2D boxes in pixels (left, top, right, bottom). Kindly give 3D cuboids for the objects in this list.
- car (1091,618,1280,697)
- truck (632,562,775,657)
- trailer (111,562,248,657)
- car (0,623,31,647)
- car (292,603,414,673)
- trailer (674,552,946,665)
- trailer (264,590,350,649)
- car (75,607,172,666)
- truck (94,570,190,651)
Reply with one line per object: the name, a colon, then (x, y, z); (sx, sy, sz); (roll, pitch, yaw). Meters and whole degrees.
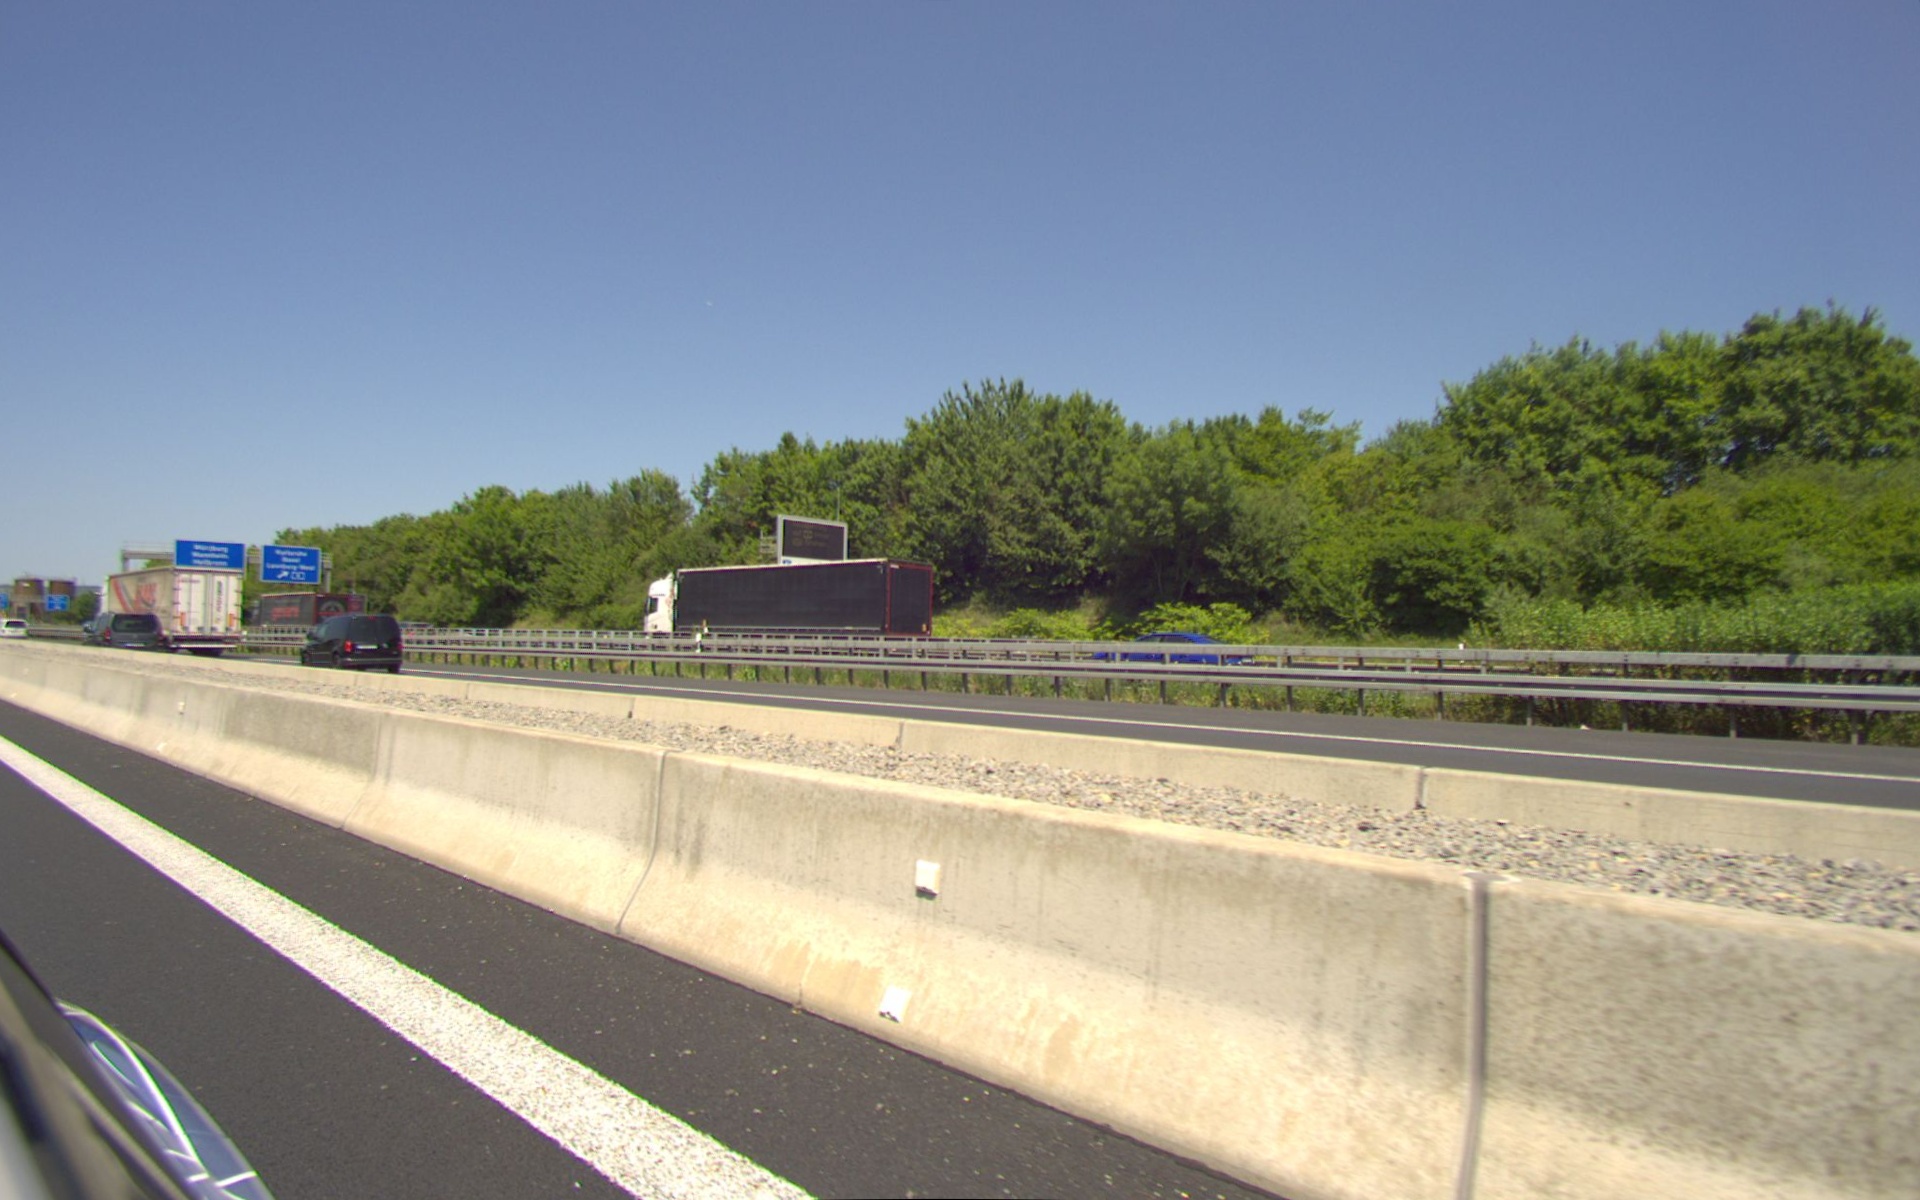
car: (5.836, 1.447, 26.460); (4.427, 1.872, 1.973); (-1, -3, 41)
truck: (-11.900, 0.460, 46.676); (6.636, 4.076, 3.187); (-1, -1, 41)
trailer: (-37.508, 0.467, 48.400); (12.056, 4.076, 2.880); (-1, -1, 41)
car: (-76.767, 2.820, 81.724); (4.896, 1.840, 1.725); (-1, -1, 38)
car: (-18.956, 1.130, 31.541); (4.482, 2.029, 1.973); (-1, -1, 41)
trailer: (-6.699, 0.387, 42.155); (13.529, 4.076, 3.186); (-1, -1, 41)
trailer: (-53.018, 1.563, 82.000); (11.647, 4.467, 2.765); (-1, -1, 41)
car: (-30.837, 1.296, 37.259); (4.953, 2.029, 2.029); (-1, -1, 41)
truck: (-42.932, 0.555, 53.091); (5.894, 4.003, 2.898); (-1, -1, 41)
